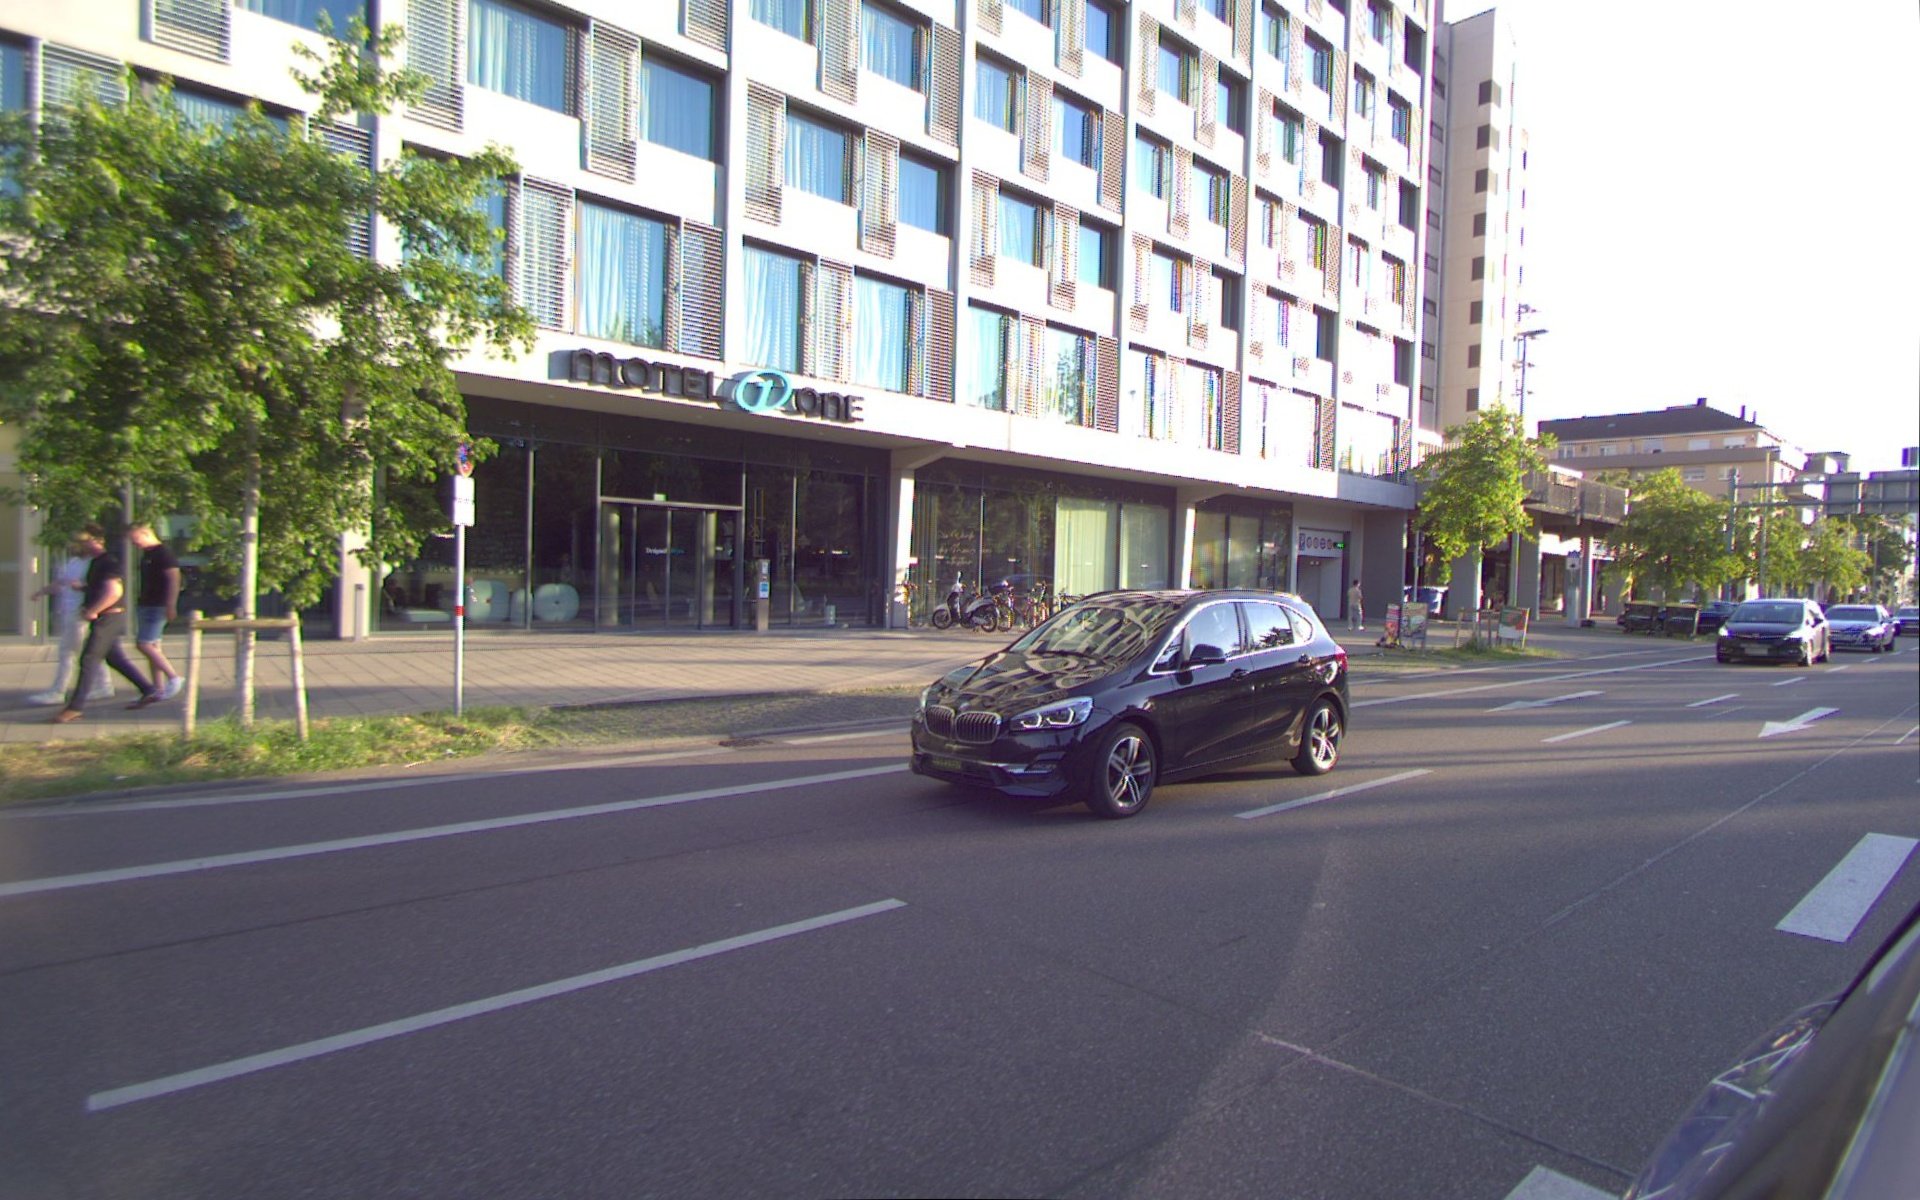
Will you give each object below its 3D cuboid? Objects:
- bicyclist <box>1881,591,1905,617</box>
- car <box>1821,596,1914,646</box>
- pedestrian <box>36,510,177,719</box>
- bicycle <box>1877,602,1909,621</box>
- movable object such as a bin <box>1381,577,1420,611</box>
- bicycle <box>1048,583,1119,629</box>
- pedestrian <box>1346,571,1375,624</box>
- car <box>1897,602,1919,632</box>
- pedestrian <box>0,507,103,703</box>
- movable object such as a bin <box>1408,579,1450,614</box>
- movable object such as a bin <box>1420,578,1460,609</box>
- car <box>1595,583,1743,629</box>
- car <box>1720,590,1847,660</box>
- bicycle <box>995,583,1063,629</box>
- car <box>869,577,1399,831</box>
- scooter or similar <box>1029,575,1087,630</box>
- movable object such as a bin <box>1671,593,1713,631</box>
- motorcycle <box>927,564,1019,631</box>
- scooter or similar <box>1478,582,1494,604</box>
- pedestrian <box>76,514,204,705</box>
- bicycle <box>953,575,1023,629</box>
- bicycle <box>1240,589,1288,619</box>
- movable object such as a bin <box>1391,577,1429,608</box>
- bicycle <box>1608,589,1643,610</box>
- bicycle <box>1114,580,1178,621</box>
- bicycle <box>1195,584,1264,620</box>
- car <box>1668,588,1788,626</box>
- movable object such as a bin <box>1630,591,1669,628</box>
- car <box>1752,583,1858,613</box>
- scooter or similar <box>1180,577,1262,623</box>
[{"bbox_3d":[64.648,0.288,70.118,0.810,1.713,0.955,3,2,20],"label":"bicyclist"},{"bbox_3d":[29.064,0.635,32.379,4.230,1.482,1.830,0,0,-43],"label":"car"},{"bbox_3d":[-8.071,0.108,9.616,0.922,1.871,0.747,1,4,-32],"label":"pedestrian"},{"bbox_3d":[64.623,0.784,70.117,0.810,1.187,2.134,3,2,20],"label":"bicycle"},{"bbox_3d":[18.228,-0.255,41.883,1.181,1.346,1.075,1,2,-42],"label":"movable object such as a bin"},{"bbox_3d":[3.173,0.136,26.148,0.556,1.022,1.888,0,4,-43],"label":"bicycle"},{"bbox_3d":[12.735,-0.093,32.166,0.632,1.638,0.577,1,3,-45],"label":"pedestrian"},{"bbox_3d":[46.457,0.816,48.413,4.201,1.413,1.914,0,0,-40],"label":"car"},{"bbox_3d":[-8.981,0.031,9.951,0.762,1.833,0.622,1,4,-32],"label":"pedestrian"},{"bbox_3d":[18.995,-0.139,40.987,1.261,1.346,1.107,1,3,-42],"label":"movable object such as a bin"},{"bbox_3d":[21.280,-0.277,44.857,1.282,1.315,1.183,1,2,-43],"label":"movable object such as a bin"},{"bbox_3d":[29.825,0.236,42.702,4.594,1.526,1.935,4,3,10],"label":"car"},{"bbox_3d":[20.803,0.582,25.518,4.291,1.619,1.826,0,0,-42],"label":"car"},{"bbox_3d":[1.667,0.139,24.806,0.542,0.998,1.702,1,3,-44],"label":"bicycle"},{"bbox_3d":[1.679,0.624,8.403,4.709,1.538,1.823,0,0,-42],"label":"car"},{"bbox_3d":[2.405,0.053,24.911,0.599,1.248,1.269,1,3,-45],"label":"scooter or similar"},{"bbox_3d":[27.839,0.438,38.475,1.084,1.317,1.340,5,4,42],"label":"movable object such as a bin"},{"bbox_3d":[0.292,-0.074,23.741,2.106,1.403,0.663,5,2,35],"label":"motorcycle"},{"bbox_3d":[28.627,-0.389,55.066,0.400,1.175,1.805,0,0,38],"label":"scooter or similar"},{"bbox_3d":[-8.319,0.070,10.308,0.922,1.846,0.760,1,3,-32],"label":"pedestrian"},{"bbox_3d":[0.667,0.027,24.458,1.603,1.168,0.604,5,3,37],"label":"bicycle"},{"bbox_3d":[9.726,0.120,32.385,0.449,0.902,1.424,1,2,-42],"label":"bicycle"},{"bbox_3d":[20.397,-0.347,45.895,1.106,1.329,1.183,1,2,-43],"label":"movable object such as a bin"},{"bbox_3d":[38.107,-0.033,57.939,0.426,1.061,1.575,1,4,-42],"label":"bicycle"},{"bbox_3d":[5.137,0.009,27.990,0.542,0.998,1.702,1,4,-44],"label":"bicycle"},{"bbox_3d":[8.407,0.048,31.665,2.016,0.969,0.611,5,3,43],"label":"bicycle"},{"bbox_3d":[35.510,0.294,46.876,3.928,1.433,1.746,4,3,11],"label":"car"},{"bbox_3d":[26.875,0.365,39.435,1.014,1.363,1.142,6,4,44],"label":"movable object such as a bin"},{"bbox_3d":[51.109,-0.150,61.294,4.530,1.471,1.810,3,2,8],"label":"car"},{"bbox_3d":[7.723,-0.011,30.078,0.610,1.197,2.377,1,3,-42],"label":"scooter or similar"}]
